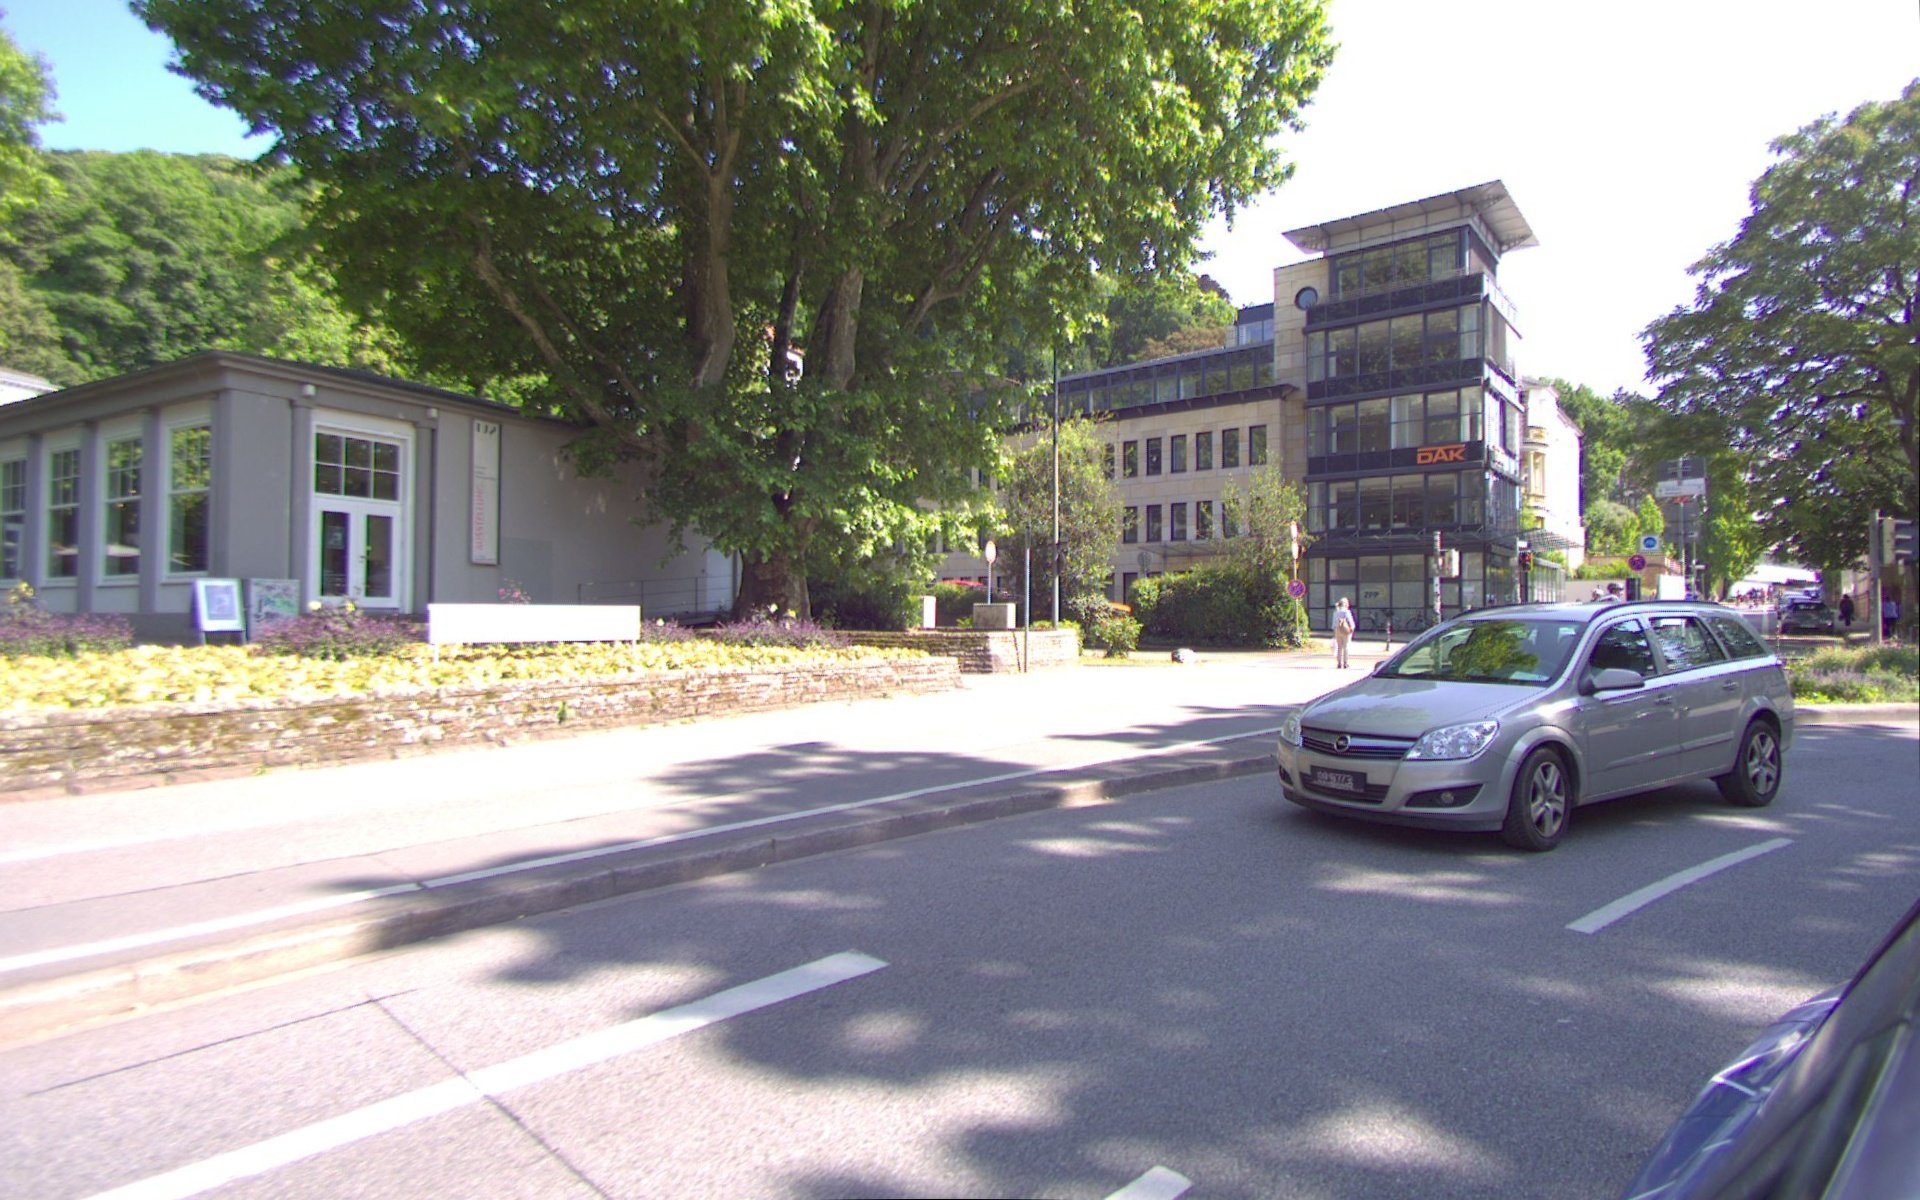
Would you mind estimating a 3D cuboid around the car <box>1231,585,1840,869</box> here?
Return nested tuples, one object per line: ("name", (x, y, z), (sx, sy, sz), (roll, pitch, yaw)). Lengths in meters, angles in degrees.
("car", (4.197, 0.717, 7.266), (4.316, 1.542, 1.715), (0, -1, -27))

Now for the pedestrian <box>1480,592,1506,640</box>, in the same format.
("pedestrian", (19.267, 0.580, 36.561), (0.688, 1.727, 0.593), (-2, -2, 43))

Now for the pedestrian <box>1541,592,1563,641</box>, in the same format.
("pedestrian", (21.223, 0.582, 36.276), (0.600, 1.727, 0.681), (-1, -2, 36))

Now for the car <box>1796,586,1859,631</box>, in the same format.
("car", (37.977, 0.331, 44.361), (1.843, 1.809, 3.944), (4, 3, 38))

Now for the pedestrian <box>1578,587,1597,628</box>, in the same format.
("pedestrian", (27.137, 0.330, 43.760), (0.599, 1.727, 0.595), (-2, -2, 40))

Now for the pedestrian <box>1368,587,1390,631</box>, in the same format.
("pedestrian", (16.823, 0.365, 40.598), (0.601, 1.727, 0.679), (-2, -2, 41))

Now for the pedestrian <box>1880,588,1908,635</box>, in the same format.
("pedestrian", (34.483, 0.418, 37.362), (0.599, 1.727, 0.530), (-1, -1, 30))

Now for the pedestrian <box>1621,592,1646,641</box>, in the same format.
("pedestrian", (24.048, 0.581, 36.136), (0.601, 1.727, 0.594), (-2, -2, 45))

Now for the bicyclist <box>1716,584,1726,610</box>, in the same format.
("bicyclist", (61.403, -0.227, 81.644), (0.571, 2.039, 0.738), (-1, -1, 40))

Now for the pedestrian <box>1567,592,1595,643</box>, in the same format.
("pedestrian", (21.379, 0.595, 34.862), (0.635, 1.727, 0.652), (1, -2, -43))

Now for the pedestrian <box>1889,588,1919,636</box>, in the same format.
("pedestrian", (34.151, 0.427, 36.544), (0.594, 1.727, 0.601), (-1, -1, 9))

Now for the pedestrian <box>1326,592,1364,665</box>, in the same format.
("pedestrian", (9.179, 0.673, 24.130), (0.707, 1.694, 0.527), (-1, -1, 37))

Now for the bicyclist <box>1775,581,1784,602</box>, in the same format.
("bicyclist", (82.931, -0.858, 102.458), (0.880, 2.039, 0.573), (1, -1, -44))

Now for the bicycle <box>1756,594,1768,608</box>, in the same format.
("bicycle", (68.582, 0.053, 86.544), (1.867, 1.176, 0.565), (0, -1, -44))

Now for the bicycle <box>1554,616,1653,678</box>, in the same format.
("bicycle", (11.868, 0.835, 18.647), (2.164, 1.068, 0.711), (0, -1, -34))

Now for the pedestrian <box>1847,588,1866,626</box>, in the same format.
("pedestrian", (40.642, 0.331, 45.885), (0.599, 1.727, 0.595), (-2, -2, 40))

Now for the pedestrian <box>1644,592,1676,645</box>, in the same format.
("pedestrian", (23.107, 0.609, 33.390), (0.592, 1.727, 0.701), (0, -2, -39))

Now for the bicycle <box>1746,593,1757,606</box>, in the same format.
("bicycle", (74.188, -0.032, 94.839), (1.867, 1.176, 0.565), (0, -1, -44))

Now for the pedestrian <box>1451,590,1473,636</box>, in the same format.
("pedestrian", (19.129, 0.479, 38.564), (0.601, 1.727, 0.679), (-2, -2, 41))

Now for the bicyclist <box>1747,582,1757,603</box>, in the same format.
("bicyclist", (74.283, -0.697, 94.896), (0.892, 2.039, 0.573), (1, -1, -44))

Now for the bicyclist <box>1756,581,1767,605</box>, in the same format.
("bicyclist", (68.655, -0.587, 86.643), (1.032, 2.039, 0.573), (1, -1, -44))

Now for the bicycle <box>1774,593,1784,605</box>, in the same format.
("bicycle", (82.882, -0.112, 102.409), (1.867, 1.176, 0.565), (0, -1, -44))

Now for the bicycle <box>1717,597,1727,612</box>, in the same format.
("bicycle", (61.424, 0.340, 81.605), (0.564, 1.176, 1.871), (-1, -1, 40))

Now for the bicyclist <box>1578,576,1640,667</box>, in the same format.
("bicyclist", (12.028, 0.387, 18.757), (0.718, 1.633, 0.711), (0, -1, -33))

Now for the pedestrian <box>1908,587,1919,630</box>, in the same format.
("pedestrian", (38.136, 0.331, 40.227), (0.600, 1.727, 0.595), (-1, -1, 40))

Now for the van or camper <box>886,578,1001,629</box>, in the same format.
("van or camper", (-0.775, 0.171, 46.094), (4.747, 2.196, 2.397), (-1, -1, 34))

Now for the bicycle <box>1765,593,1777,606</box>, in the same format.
("bicycle", (75.224, -0.023, 93.875), (1.867, 1.176, 0.565), (0, -1, -44))

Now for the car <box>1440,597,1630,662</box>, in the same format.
("car", (14.110, 0.709, 24.894), (3.926, 1.470, 1.789), (-1, -1, 34))

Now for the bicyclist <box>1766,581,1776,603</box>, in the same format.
("bicyclist", (75.366, -0.742, 94.020), (0.892, 2.039, 0.573), (1, -1, -44))
